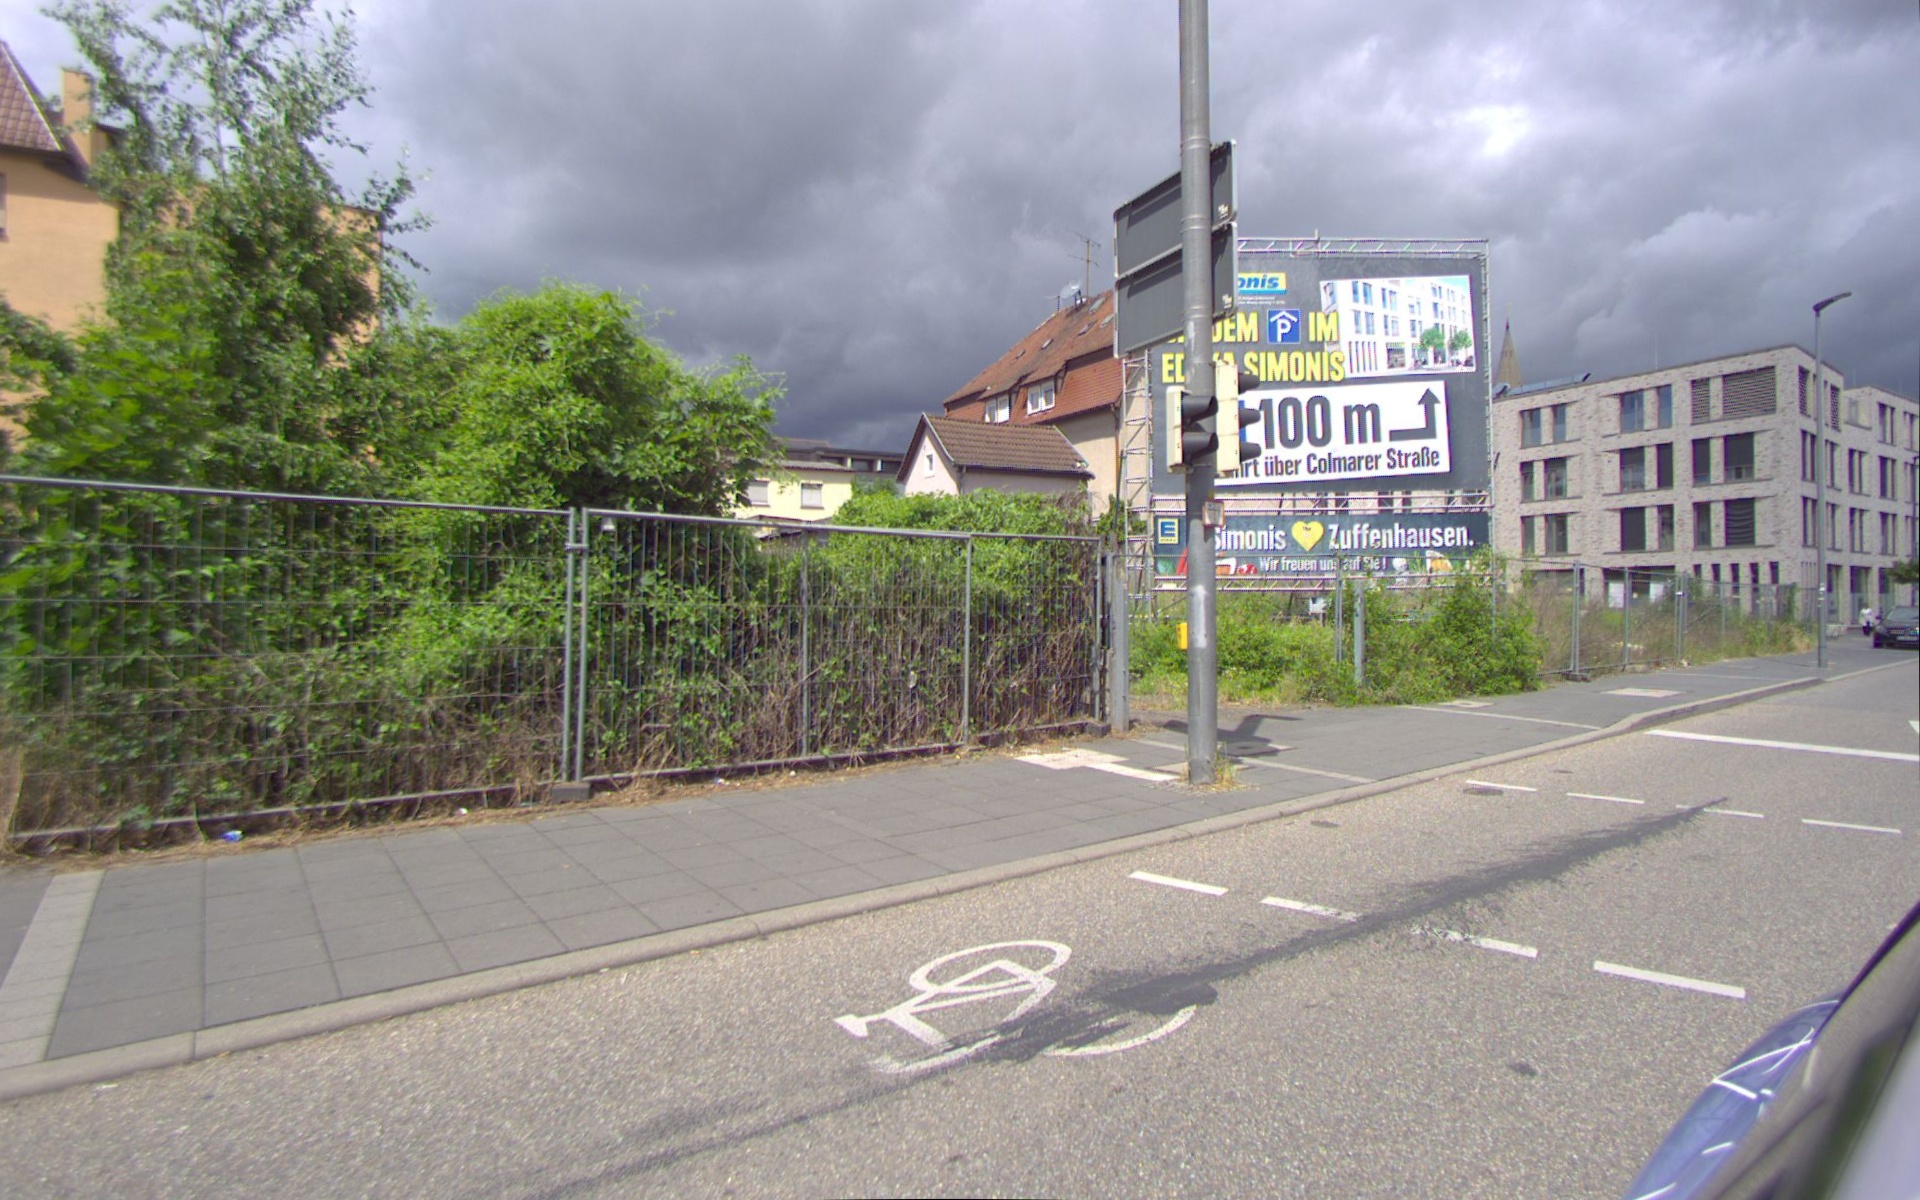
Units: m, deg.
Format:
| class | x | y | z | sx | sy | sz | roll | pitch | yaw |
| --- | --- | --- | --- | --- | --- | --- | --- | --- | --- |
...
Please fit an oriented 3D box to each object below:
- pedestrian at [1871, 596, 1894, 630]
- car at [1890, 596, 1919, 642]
| class | x | y | z | sx | sy | sz | roll | pitch | yaw |
| --- | --- | --- | --- | --- | --- | --- | --- | --- | --- |
| pedestrian | 41.288 | 0.577 | 45.279 | 0.769 | 1.531 | 0.673 | 1 | 0 | -41 |
| car | 32.736 | 0.626 | 33.966 | 3.726 | 1.441 | 1.678 | -1 | 2 | -39 |
